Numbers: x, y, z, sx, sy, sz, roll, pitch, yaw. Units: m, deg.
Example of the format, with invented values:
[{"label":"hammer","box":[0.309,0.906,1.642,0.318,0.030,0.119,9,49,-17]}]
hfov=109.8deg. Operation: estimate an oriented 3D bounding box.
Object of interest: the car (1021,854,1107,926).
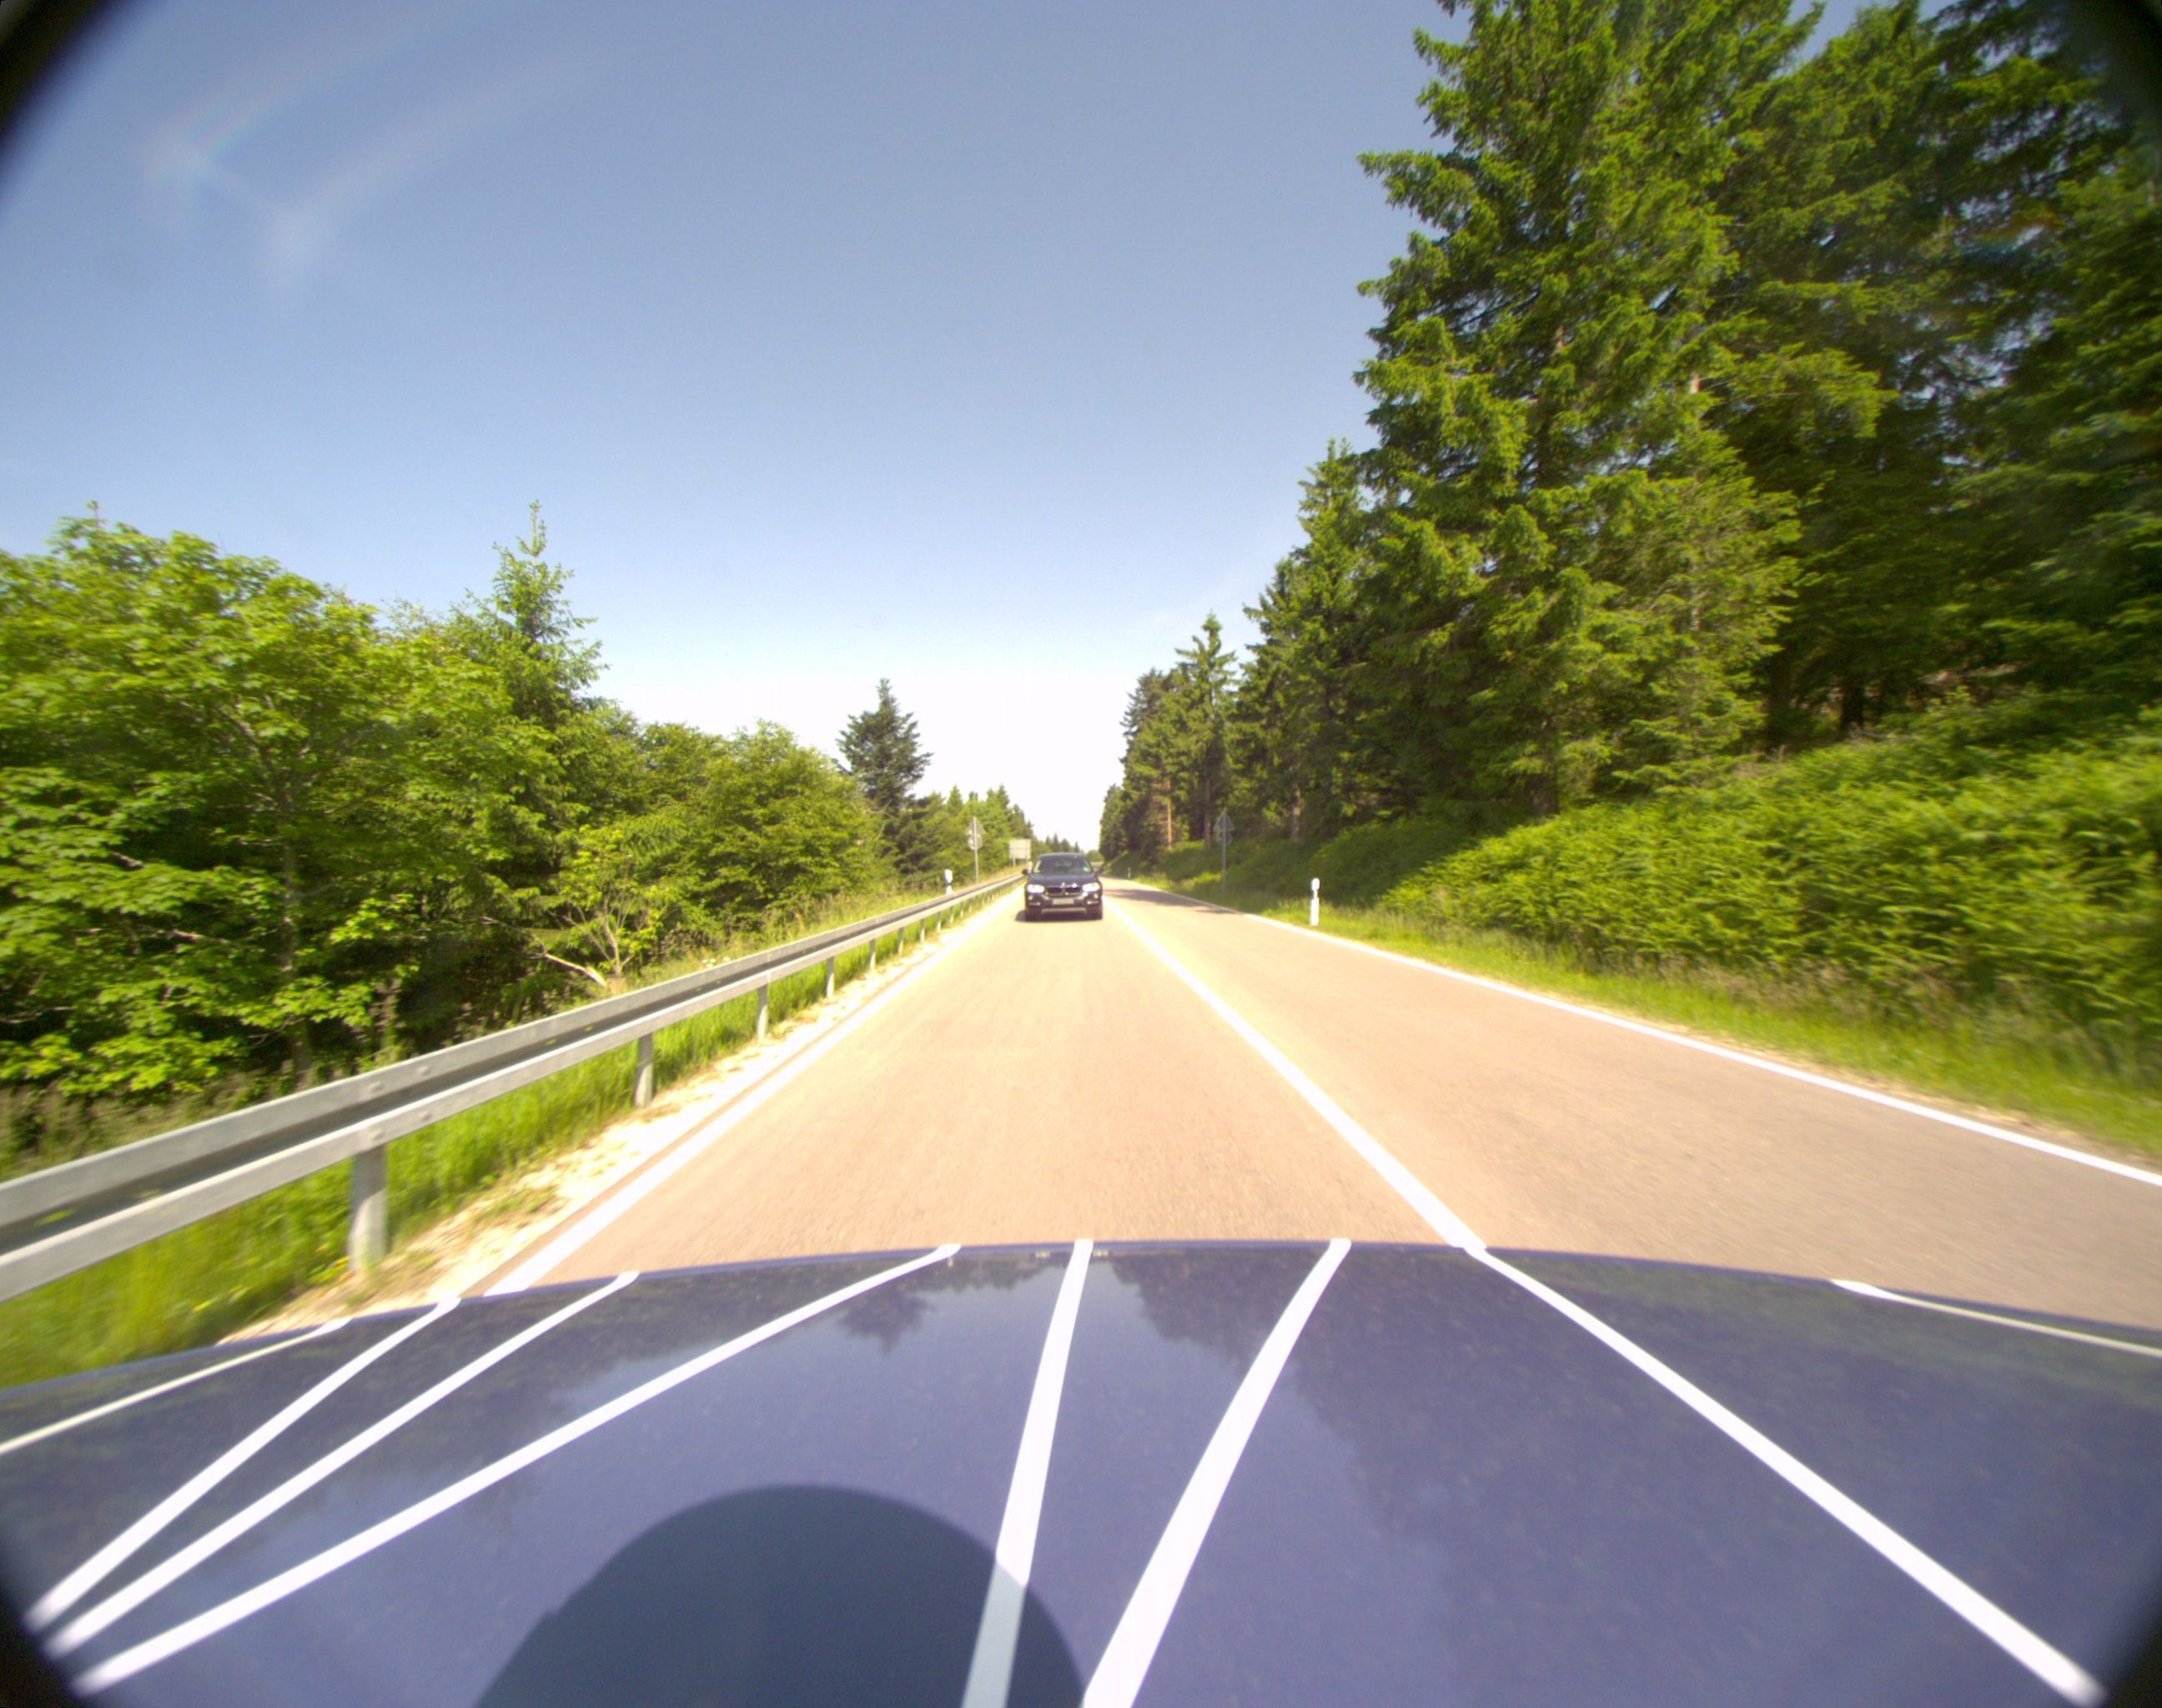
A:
[{"label":"car","box":[-0.417,0.868,20.957,1.999,1.676,5.936,-1,0,0]}]
